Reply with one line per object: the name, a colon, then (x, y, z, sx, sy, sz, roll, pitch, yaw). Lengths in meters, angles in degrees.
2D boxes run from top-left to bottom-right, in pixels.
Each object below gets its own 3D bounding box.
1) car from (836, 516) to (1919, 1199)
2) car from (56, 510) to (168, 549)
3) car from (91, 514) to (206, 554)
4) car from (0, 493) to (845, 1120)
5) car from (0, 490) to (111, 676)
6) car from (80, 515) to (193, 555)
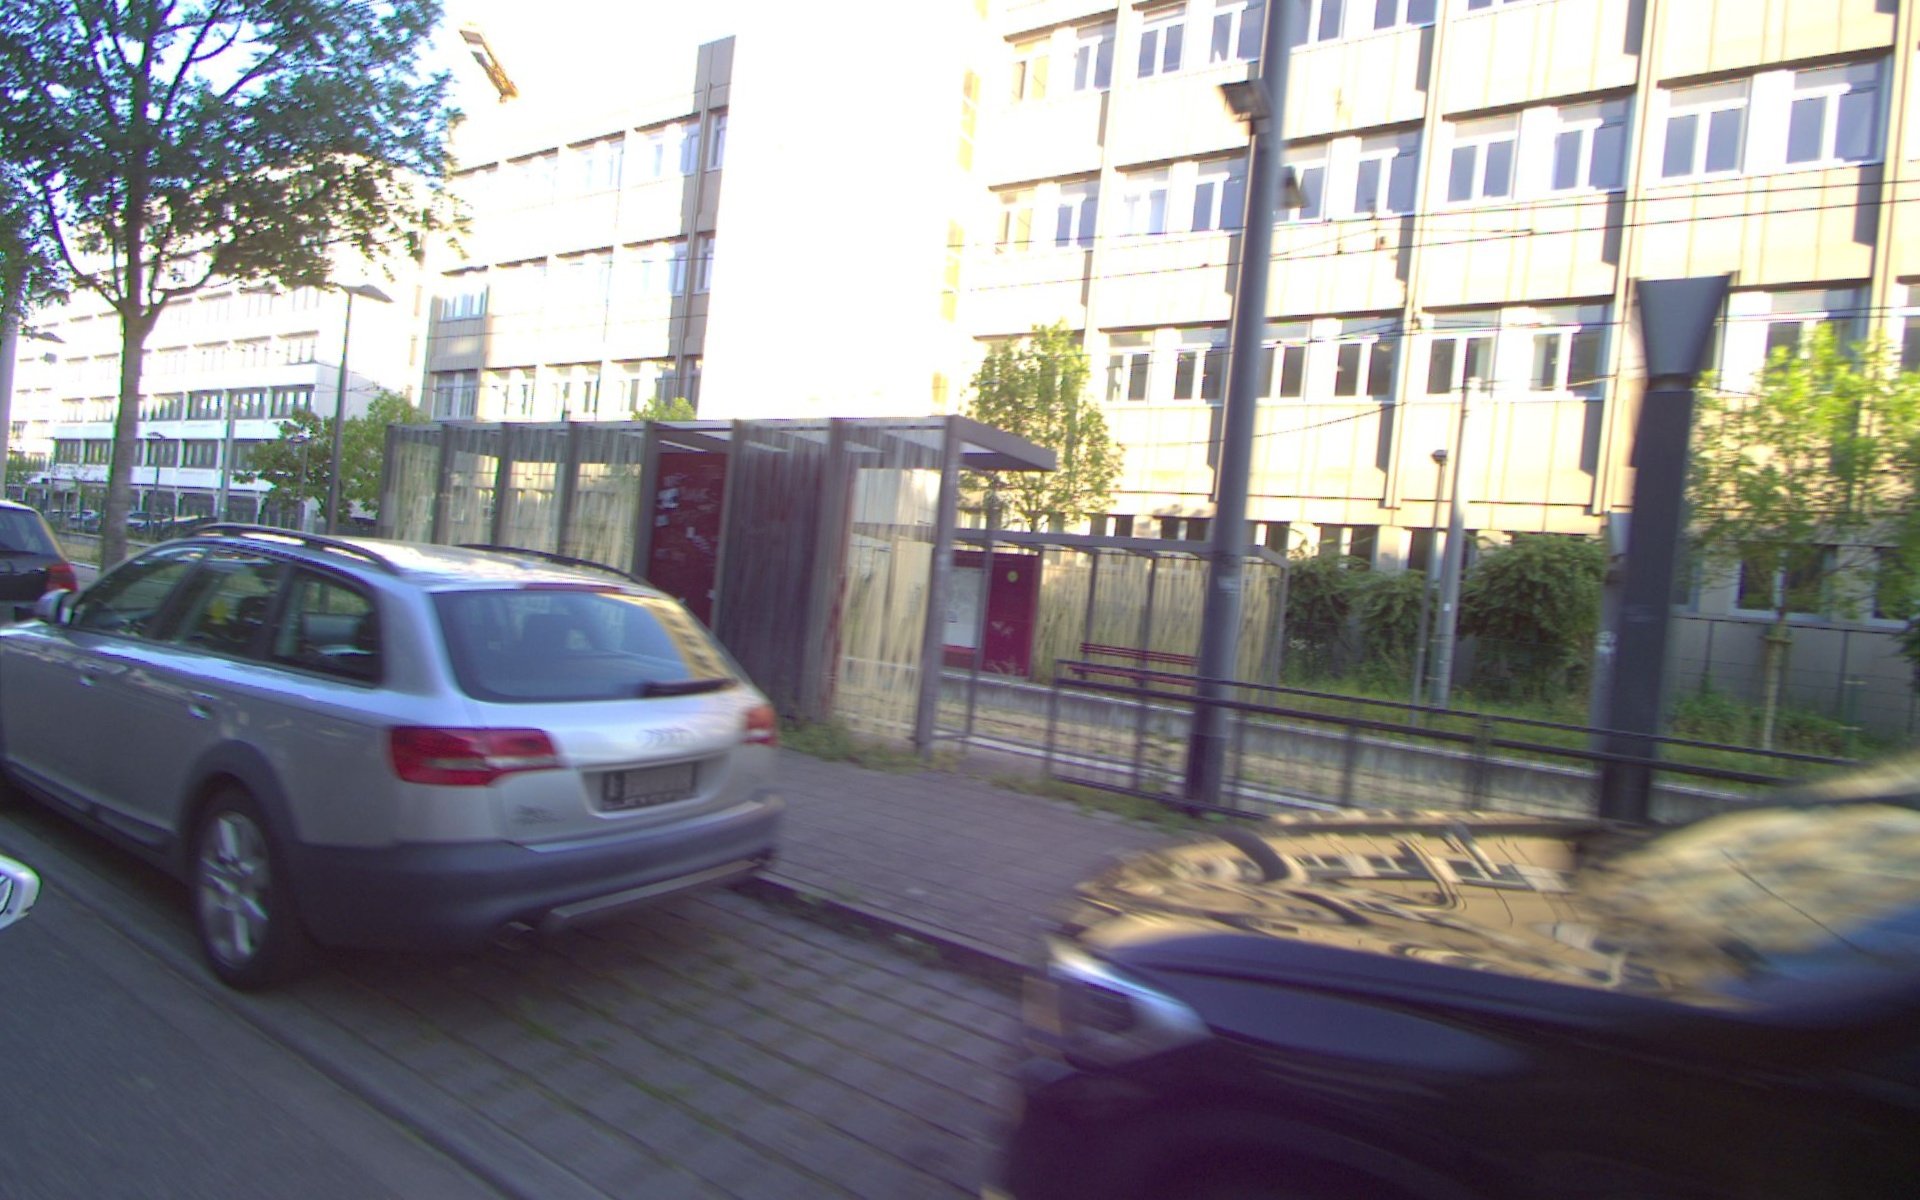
car: (2.022, 0.890, 1.533, 4.196, 1.664, 1.708, 6, 1, 31)
car: (-43.374, -3.586, 51.537, 1.793, 1.533, 3.990, 6, 1, 30)
car: (-39.173, -3.173, 48.634, 1.648, 1.506, 3.987, 6, 1, 32)
car: (-2.957, 0.400, 4.608, 4.703, 1.516, 1.795, 6, 3, 33)
car: (-9.333, -0.307, 8.801, 3.933, 1.470, 1.708, 6, 1, 31)
car: (-40.844, -3.206, 49.975, 1.648, 1.506, 3.987, 6, 1, 32)
